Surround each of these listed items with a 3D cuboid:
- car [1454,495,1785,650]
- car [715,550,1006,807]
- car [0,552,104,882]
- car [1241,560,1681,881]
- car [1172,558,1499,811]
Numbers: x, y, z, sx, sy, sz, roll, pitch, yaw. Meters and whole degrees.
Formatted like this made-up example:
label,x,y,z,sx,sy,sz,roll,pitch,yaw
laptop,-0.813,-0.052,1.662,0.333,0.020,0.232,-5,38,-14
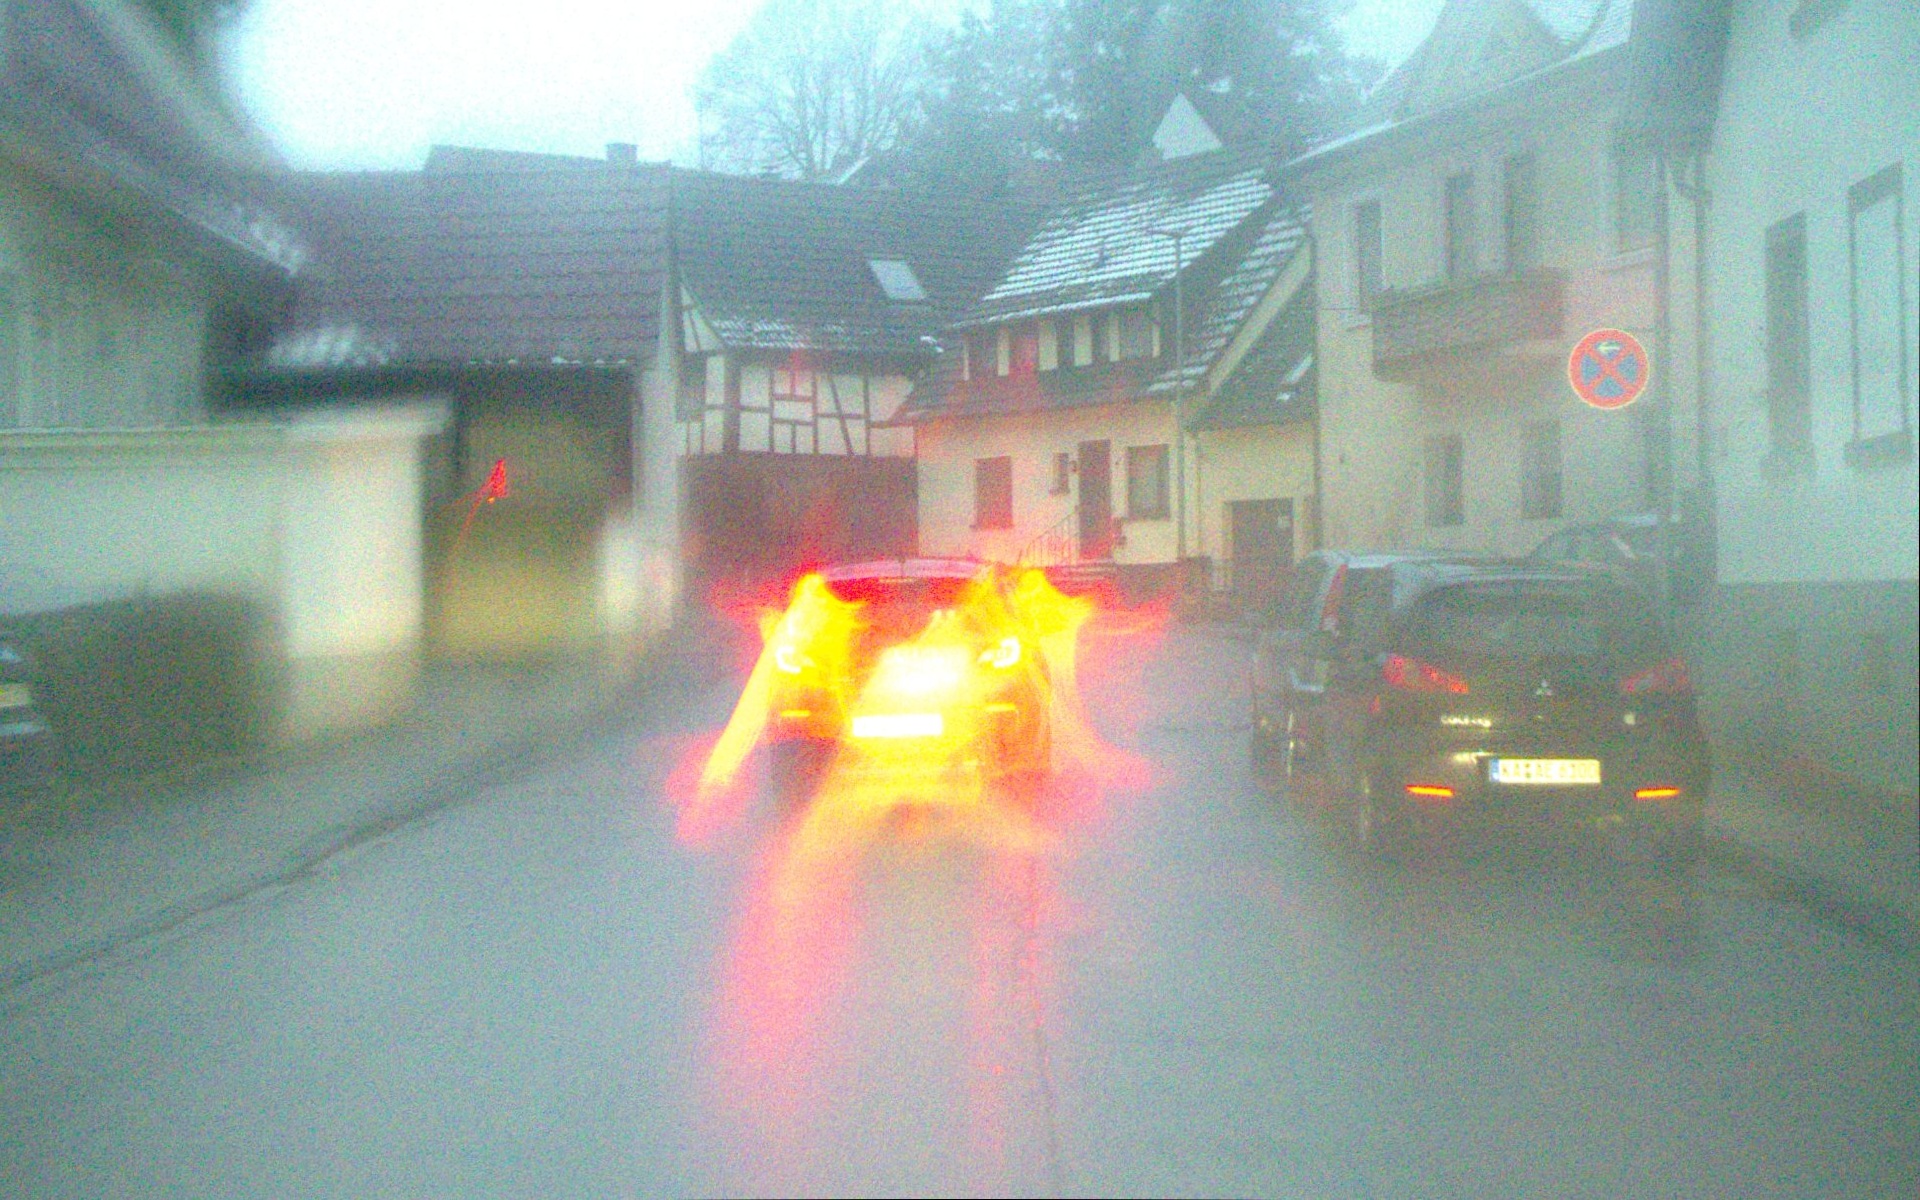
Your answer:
label,x,y,z,sx,sy,sz,roll,pitch,yaw
car,7.043,-0.266,37.180,1.806,1.482,4.279,-3,0,-14
car,-0.556,0.428,21.759,1.546,1.461,3.698,1,1,3
car,-6.540,0.550,15.935,4.593,1.465,2.000,-1,1,2
car,2.504,0.541,18.057,1.638,1.466,4.000,1,1,-1
car,2.390,0.484,22.726,1.638,1.489,4.000,1,1,-1
